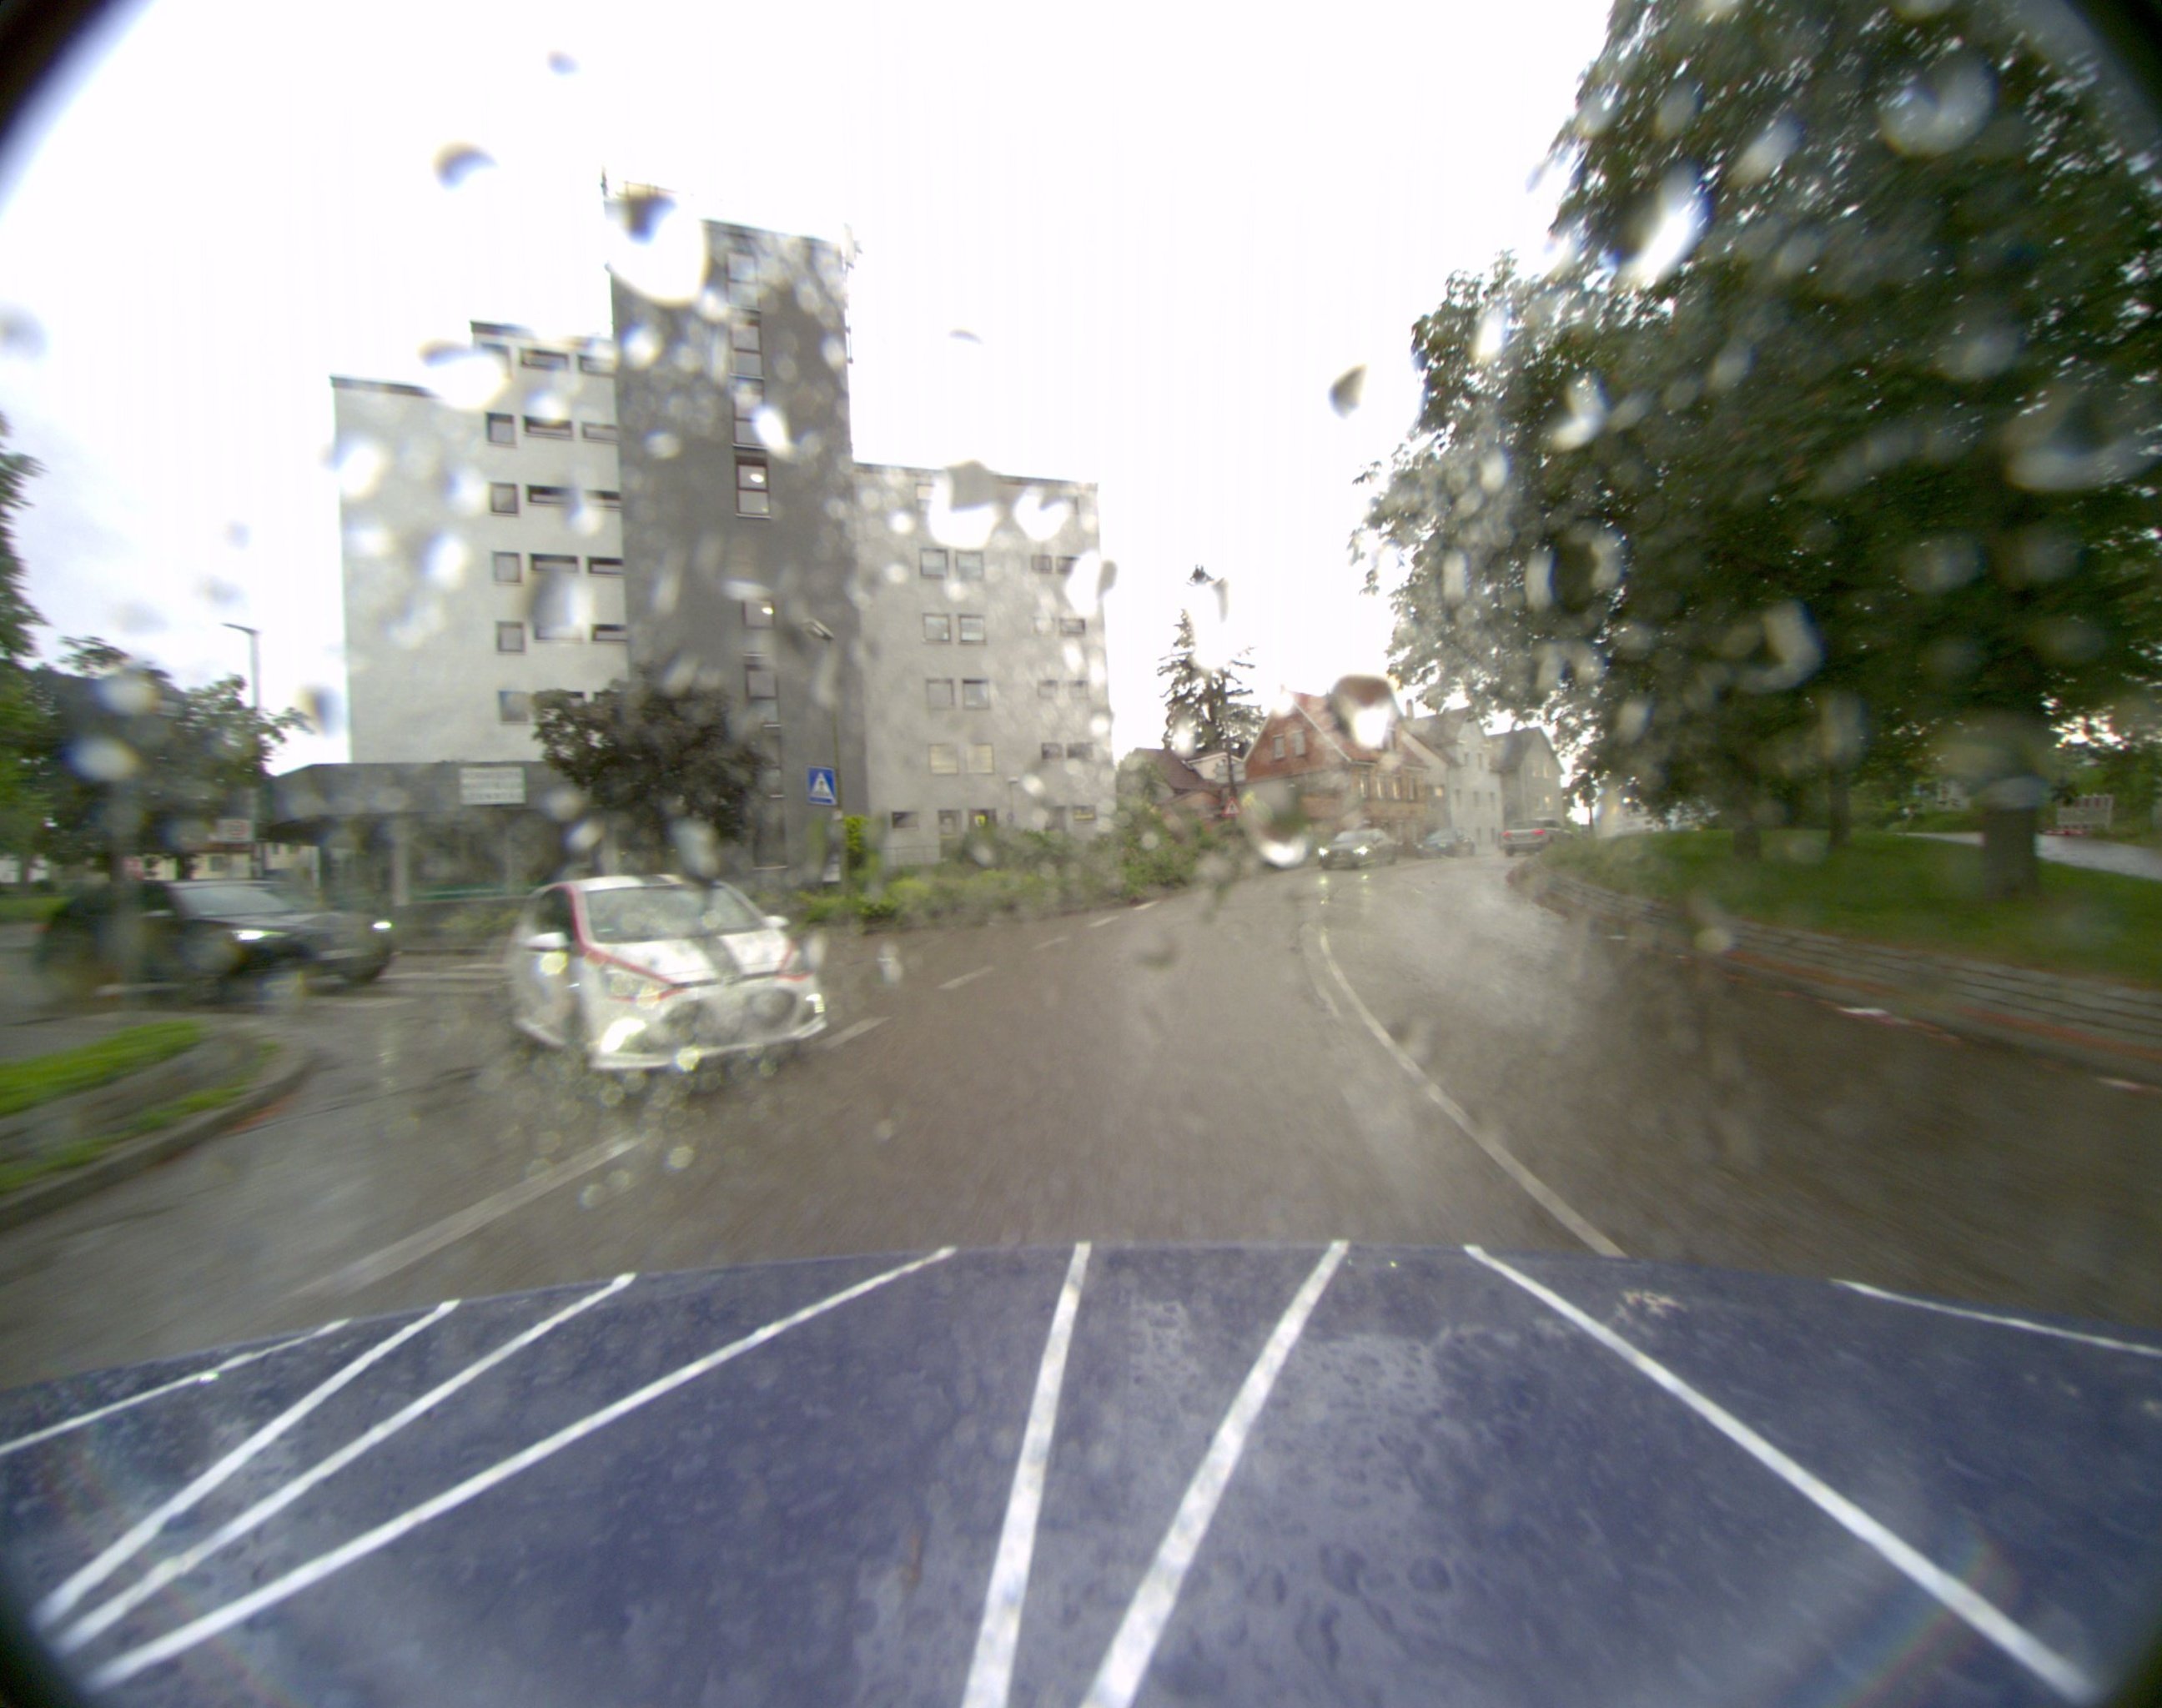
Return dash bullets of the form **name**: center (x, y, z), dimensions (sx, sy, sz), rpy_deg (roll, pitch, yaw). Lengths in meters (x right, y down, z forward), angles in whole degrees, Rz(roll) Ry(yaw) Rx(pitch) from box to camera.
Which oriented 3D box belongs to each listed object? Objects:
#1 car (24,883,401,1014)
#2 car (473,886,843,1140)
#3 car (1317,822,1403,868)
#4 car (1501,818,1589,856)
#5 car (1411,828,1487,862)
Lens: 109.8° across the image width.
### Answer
- **car**: center (-12.233, 1.284, 10.756), dimensions (4.411, 1.563, 1.721), rpy_deg (-2, 0, 15)
- **car**: center (-3.799, 1.052, 6.529), dimensions (3.753, 1.444, 1.715), rpy_deg (-3, 0, 44)
- **car**: center (11.093, -0.276, 29.959), dimensions (1.835, 1.504, 4.859), rpy_deg (-6, -4, 35)
- **car**: center (20.916, -0.776, 34.191), dimensions (4.307, 1.534, 1.729), rpy_deg (-3, 2, -34)
- **car**: center (18.171, -0.391, 37.421), dimensions (1.787, 1.338, 4.956), rpy_deg (-6, -6, 45)
